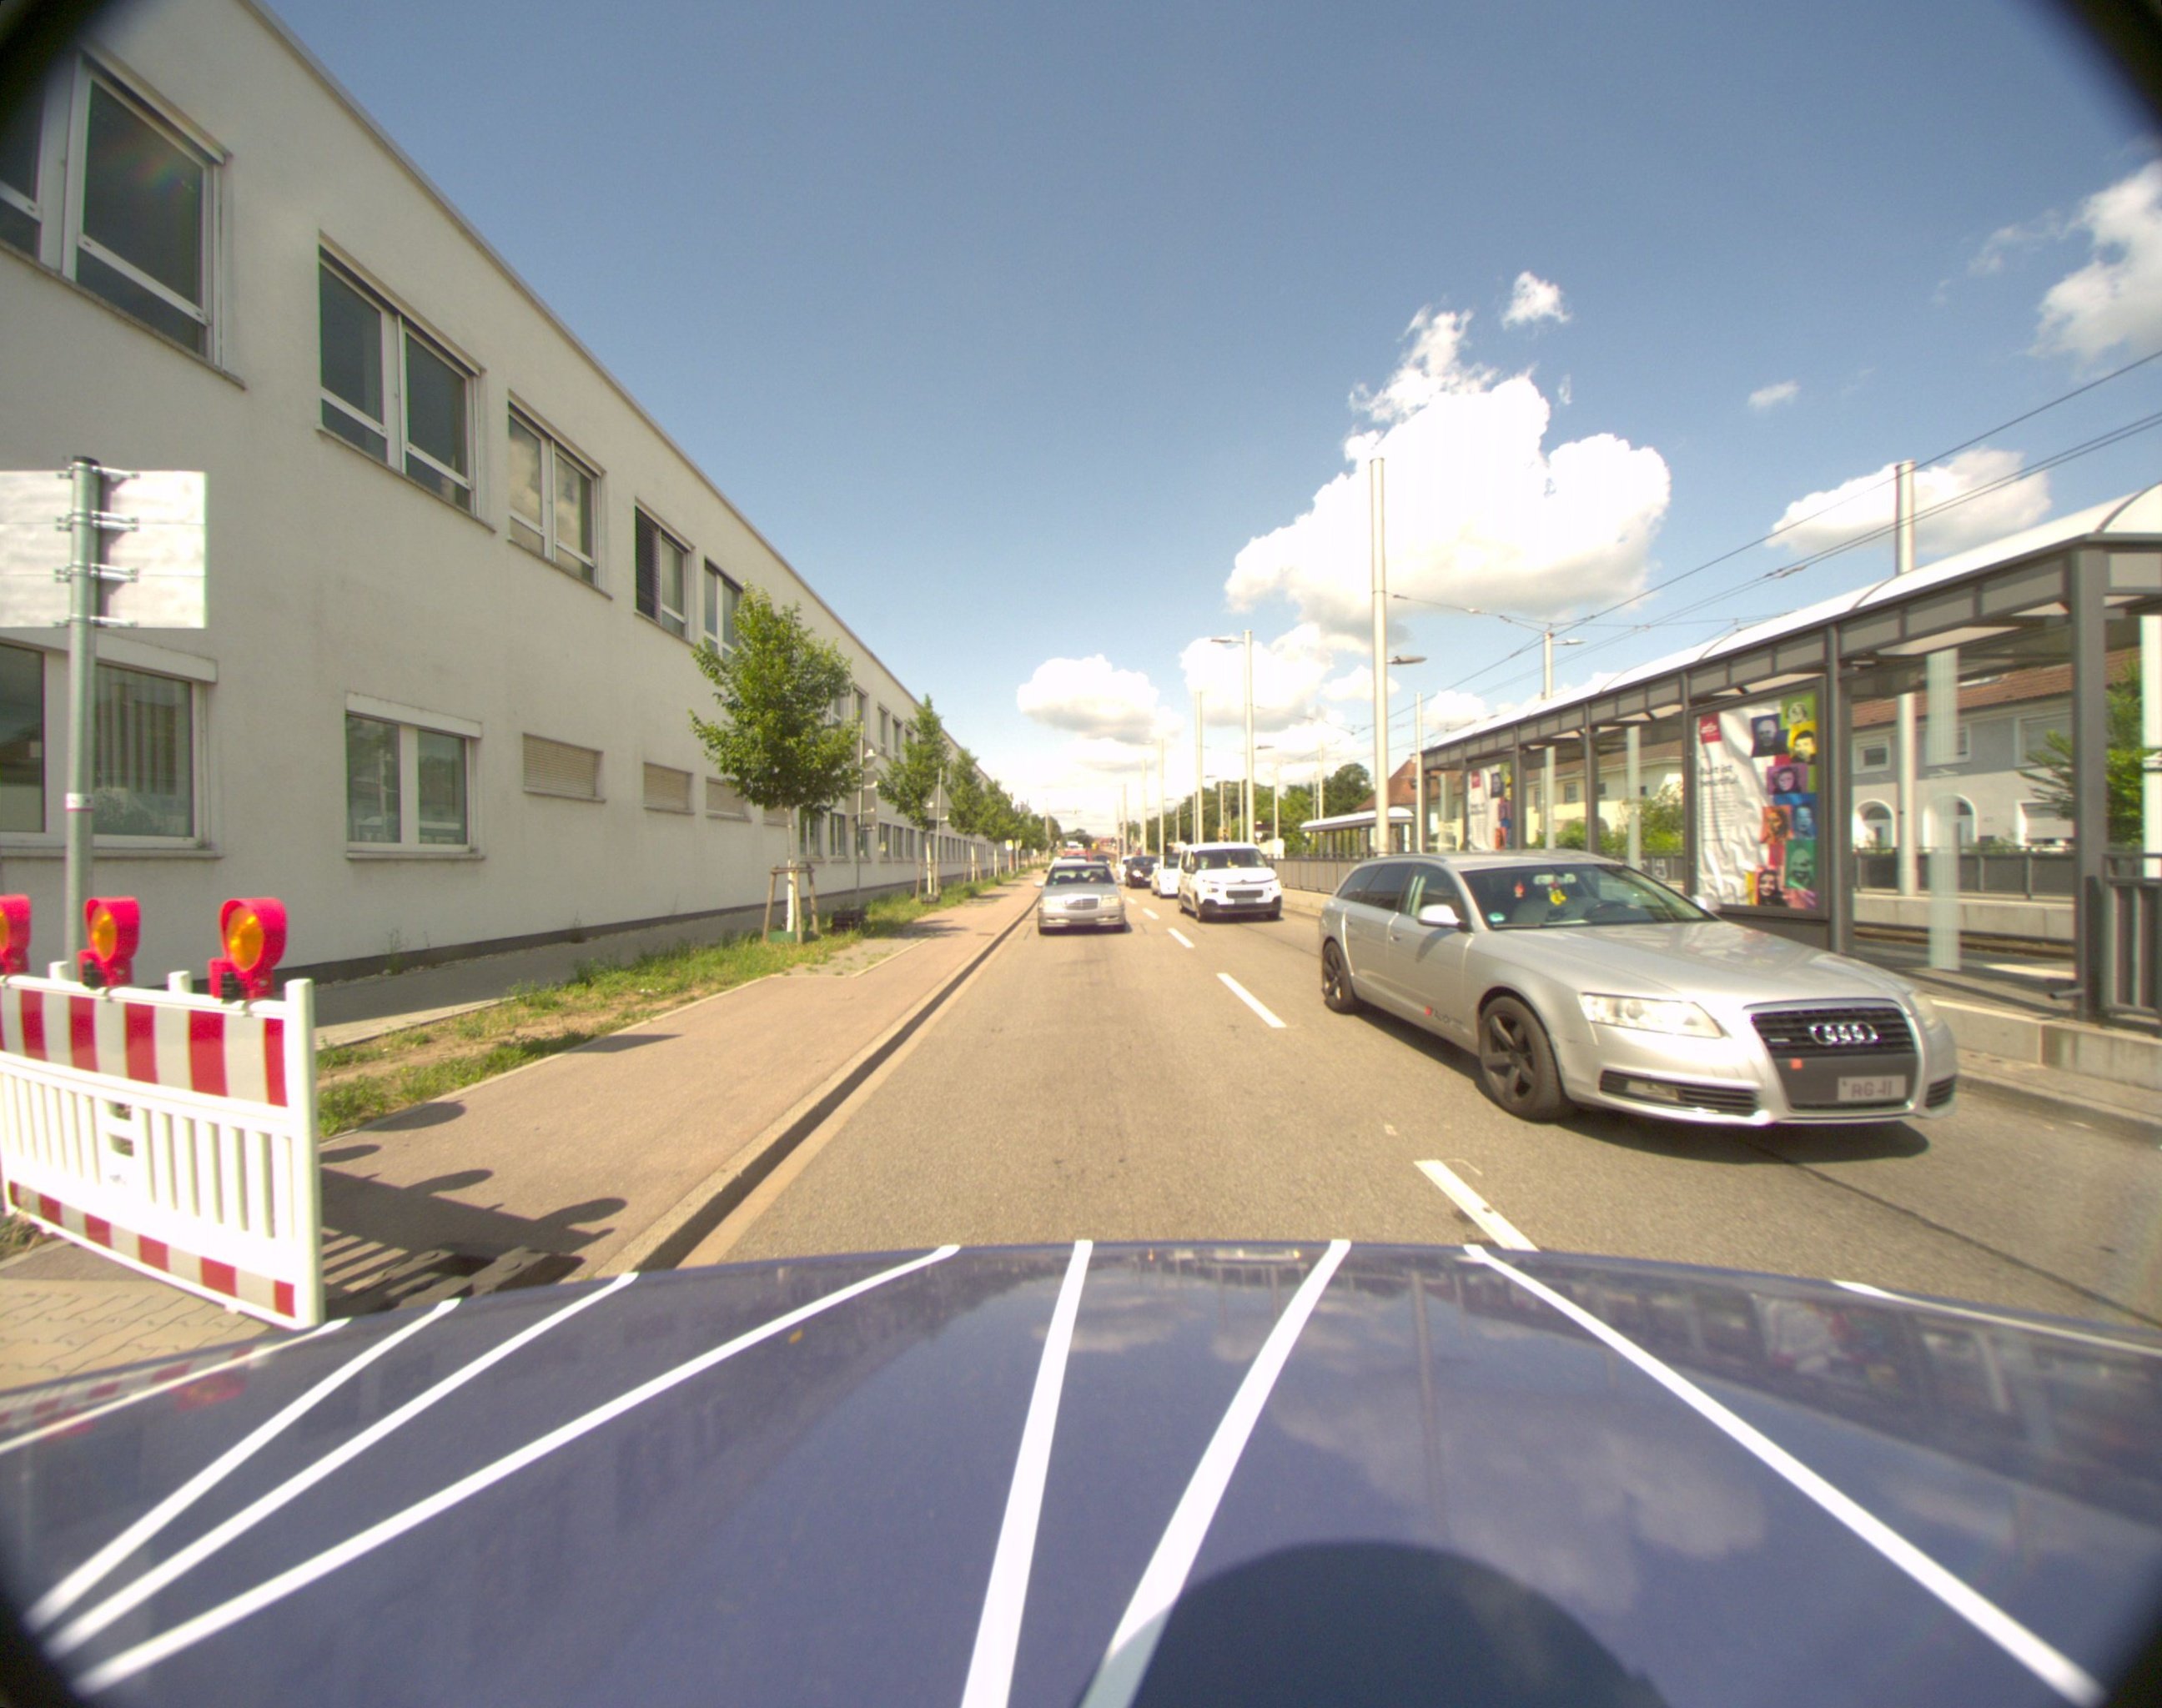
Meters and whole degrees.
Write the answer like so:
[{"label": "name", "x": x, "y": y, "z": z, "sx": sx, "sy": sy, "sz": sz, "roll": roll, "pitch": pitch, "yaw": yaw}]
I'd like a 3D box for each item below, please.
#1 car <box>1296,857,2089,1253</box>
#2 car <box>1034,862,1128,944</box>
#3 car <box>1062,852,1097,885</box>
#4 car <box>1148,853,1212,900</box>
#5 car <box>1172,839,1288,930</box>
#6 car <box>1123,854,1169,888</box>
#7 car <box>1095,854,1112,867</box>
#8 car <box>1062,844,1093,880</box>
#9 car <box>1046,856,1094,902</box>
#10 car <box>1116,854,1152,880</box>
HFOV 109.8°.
[{"label": "car", "x": 3.156, "y": 0.823, "z": 5.430, "sx": 1.799, "sy": 1.463, "sz": 4.721, "roll": -2, "pitch": 1, "yaw": -1}, {"label": "car", "x": -0.019, "y": 0.951, "z": 16.630, "sx": 1.725, "sy": 1.389, "sz": 4.462, "roll": -2, "pitch": 1, "yaw": -1}, {"label": "car", "x": -0.081, "y": 0.707, "z": 39.078, "sx": 1.664, "sy": 1.529, "sz": 3.999, "roll": -2, "pitch": 1, "yaw": -1}, {"label": "car", "x": 3.466, "y": 0.760, "z": 27.138, "sx": 1.680, "sy": 1.495, "sz": 3.393, "roll": -2, "pitch": 0, "yaw": -2}, {"label": "car", "x": 3.355, "y": 0.614, "z": 17.906, "sx": 1.799, "sy": 1.804, "sz": 4.329, "roll": -2, "pitch": 1, "yaw": 0}, {"label": "car", "x": 2.967, "y": 0.750, "z": 35.264, "sx": 1.680, "sy": 1.414, "sz": 3.557, "roll": -2, "pitch": 1, "yaw": -2}, {"label": "car", "x": 2.561, "y": 0.715, "z": 86.245, "sx": 1.698, "sy": 1.350, "sz": 4.498, "roll": -2, "pitch": 1, "yaw": -1}, {"label": "car", "x": -0.225, "y": 0.468, "z": 48.570, "sx": 1.787, "sy": 2.134, "sz": 5.168, "roll": -2, "pitch": 1, "yaw": 0}, {"label": "car", "x": -0.412, "y": 0.901, "z": 29.660, "sx": 1.664, "sy": 1.564, "sz": 3.999, "roll": -2, "pitch": 1, "yaw": -1}, {"label": "car", "x": 3.012, "y": 0.731, "z": 44.236, "sx": 1.698, "sy": 1.350, "sz": 4.498, "roll": -2, "pitch": 1, "yaw": -1}]
